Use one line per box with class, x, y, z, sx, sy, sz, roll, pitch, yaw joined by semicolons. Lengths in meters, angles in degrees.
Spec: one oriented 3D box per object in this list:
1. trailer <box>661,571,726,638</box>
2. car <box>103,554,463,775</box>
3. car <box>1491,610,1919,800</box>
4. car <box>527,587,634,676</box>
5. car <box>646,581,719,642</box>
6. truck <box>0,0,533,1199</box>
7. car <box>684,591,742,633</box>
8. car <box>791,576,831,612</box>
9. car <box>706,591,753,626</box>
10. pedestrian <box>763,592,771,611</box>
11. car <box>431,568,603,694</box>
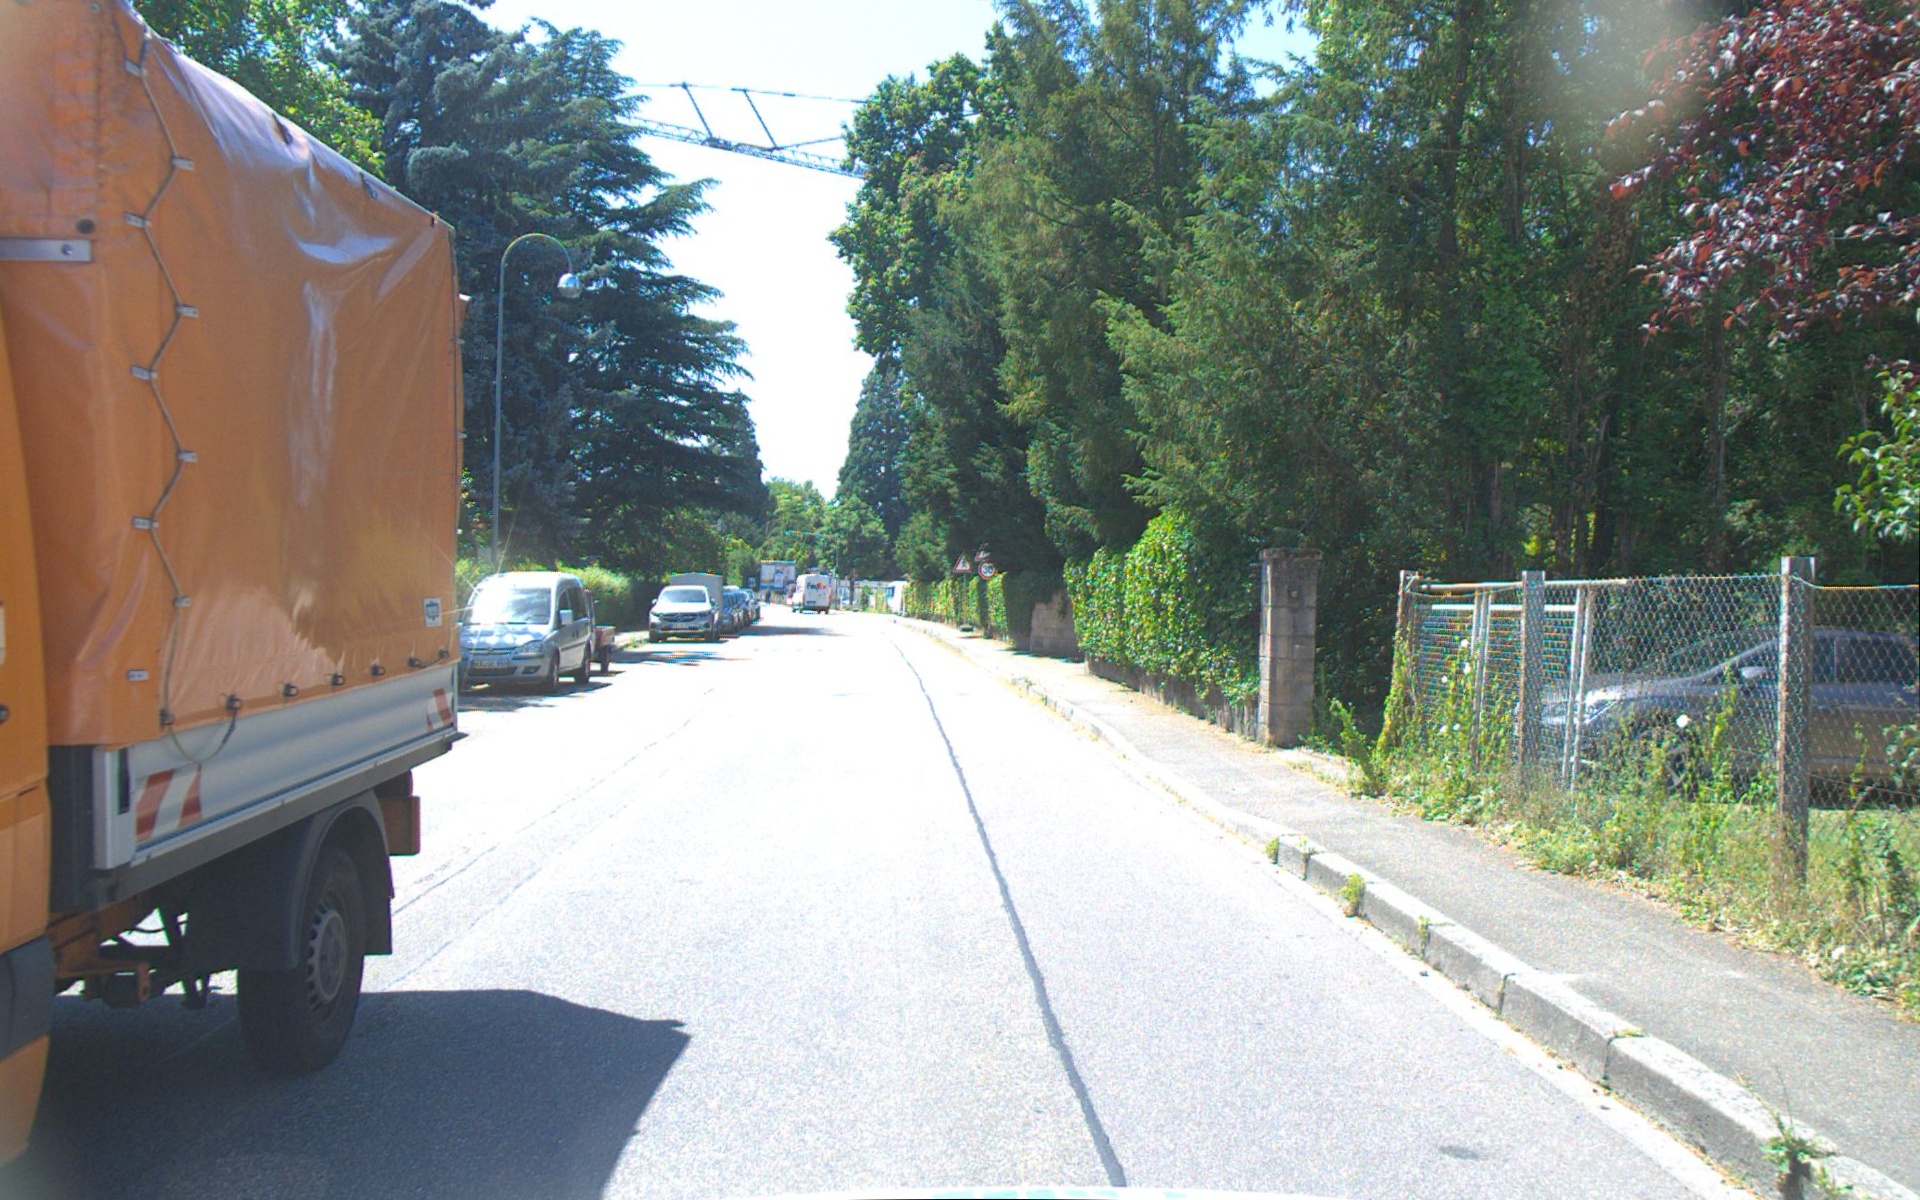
trailer;-8.658;0.125;53.954;1.812;2.076;4.158;-1;0;-5
car;-6.066;0.502;15.419;1.723;1.757;4.455;0;0;-3
car;6.722;0.859;14.106;3.782;1.404;1.766;2;0;0
car;-6.948;0.542;30.457;1.383;1.529;2.839;-1;0;-2
car;-8.255;0.323;49.530;1.815;1.700;4.707;-1;0;-5
truck;-2.834;-0.075;3.851;2.325;2.879;5.656;1;0;-2
car;-8.891;0.418;59.851;1.675;1.464;4.319;-1;0;-3
car;-10.157;-0.411;112.528;2.106;2.356;4.837;0;0;-13
car;-9.890;0.340;71.141;1.655;1.470;4.133;0;0;-3
pedestrian;-18.030;0.148;154.558;0.579;1.782;0.657;3;-1;-1
car;-6.721;0.428;25.524;1.615;1.782;4.352;0;0;-2
